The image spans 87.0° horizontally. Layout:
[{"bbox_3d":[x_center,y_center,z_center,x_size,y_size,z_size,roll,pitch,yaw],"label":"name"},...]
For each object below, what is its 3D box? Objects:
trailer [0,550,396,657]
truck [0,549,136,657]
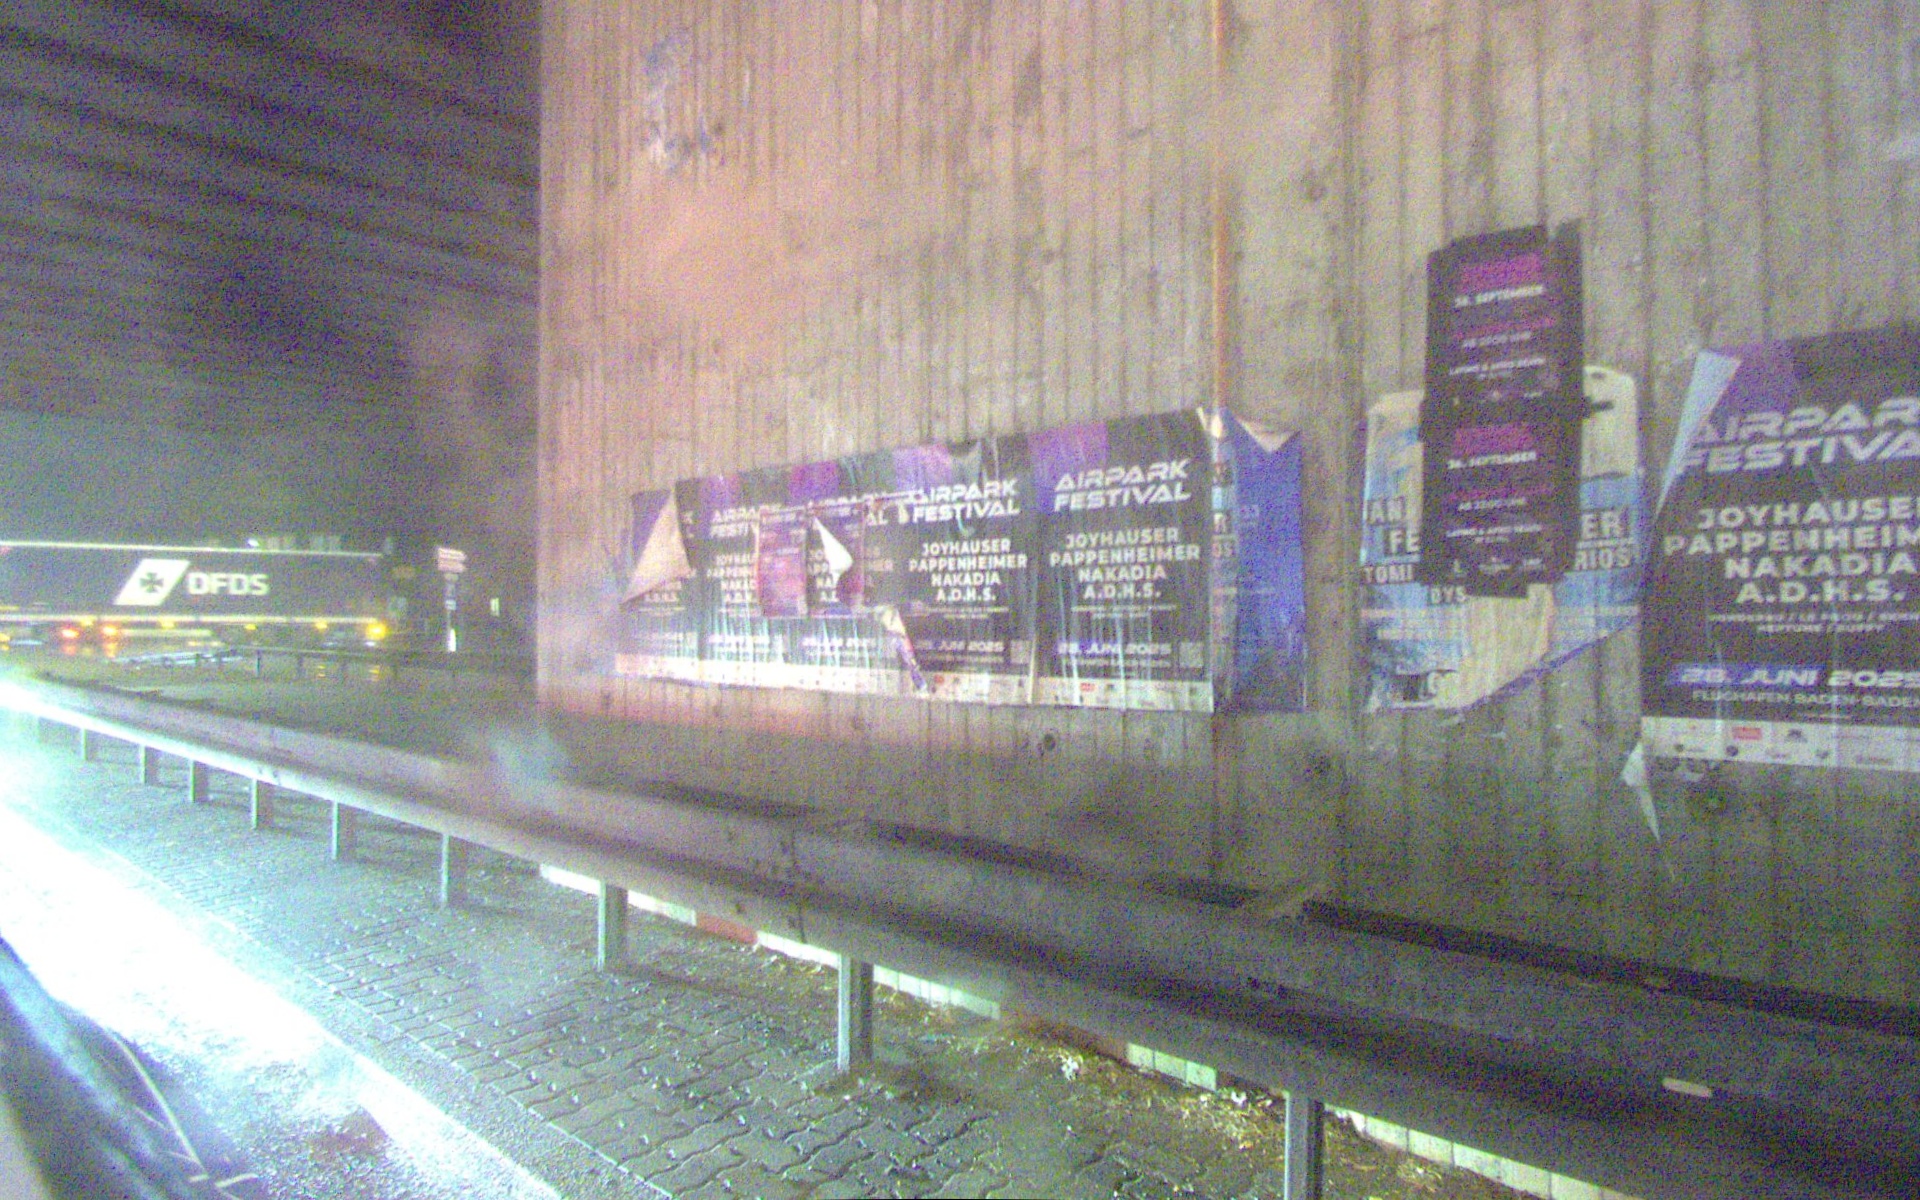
[{"bbox_3d":[-32.657,0.056,44.230,13.679,4.208,3.983,-1,0,-25],"label":"trailer"},{"bbox_3d":[-38.658,0.139,41.587,6.273,4.208,3.978,-1,0,-10],"label":"truck"}]
